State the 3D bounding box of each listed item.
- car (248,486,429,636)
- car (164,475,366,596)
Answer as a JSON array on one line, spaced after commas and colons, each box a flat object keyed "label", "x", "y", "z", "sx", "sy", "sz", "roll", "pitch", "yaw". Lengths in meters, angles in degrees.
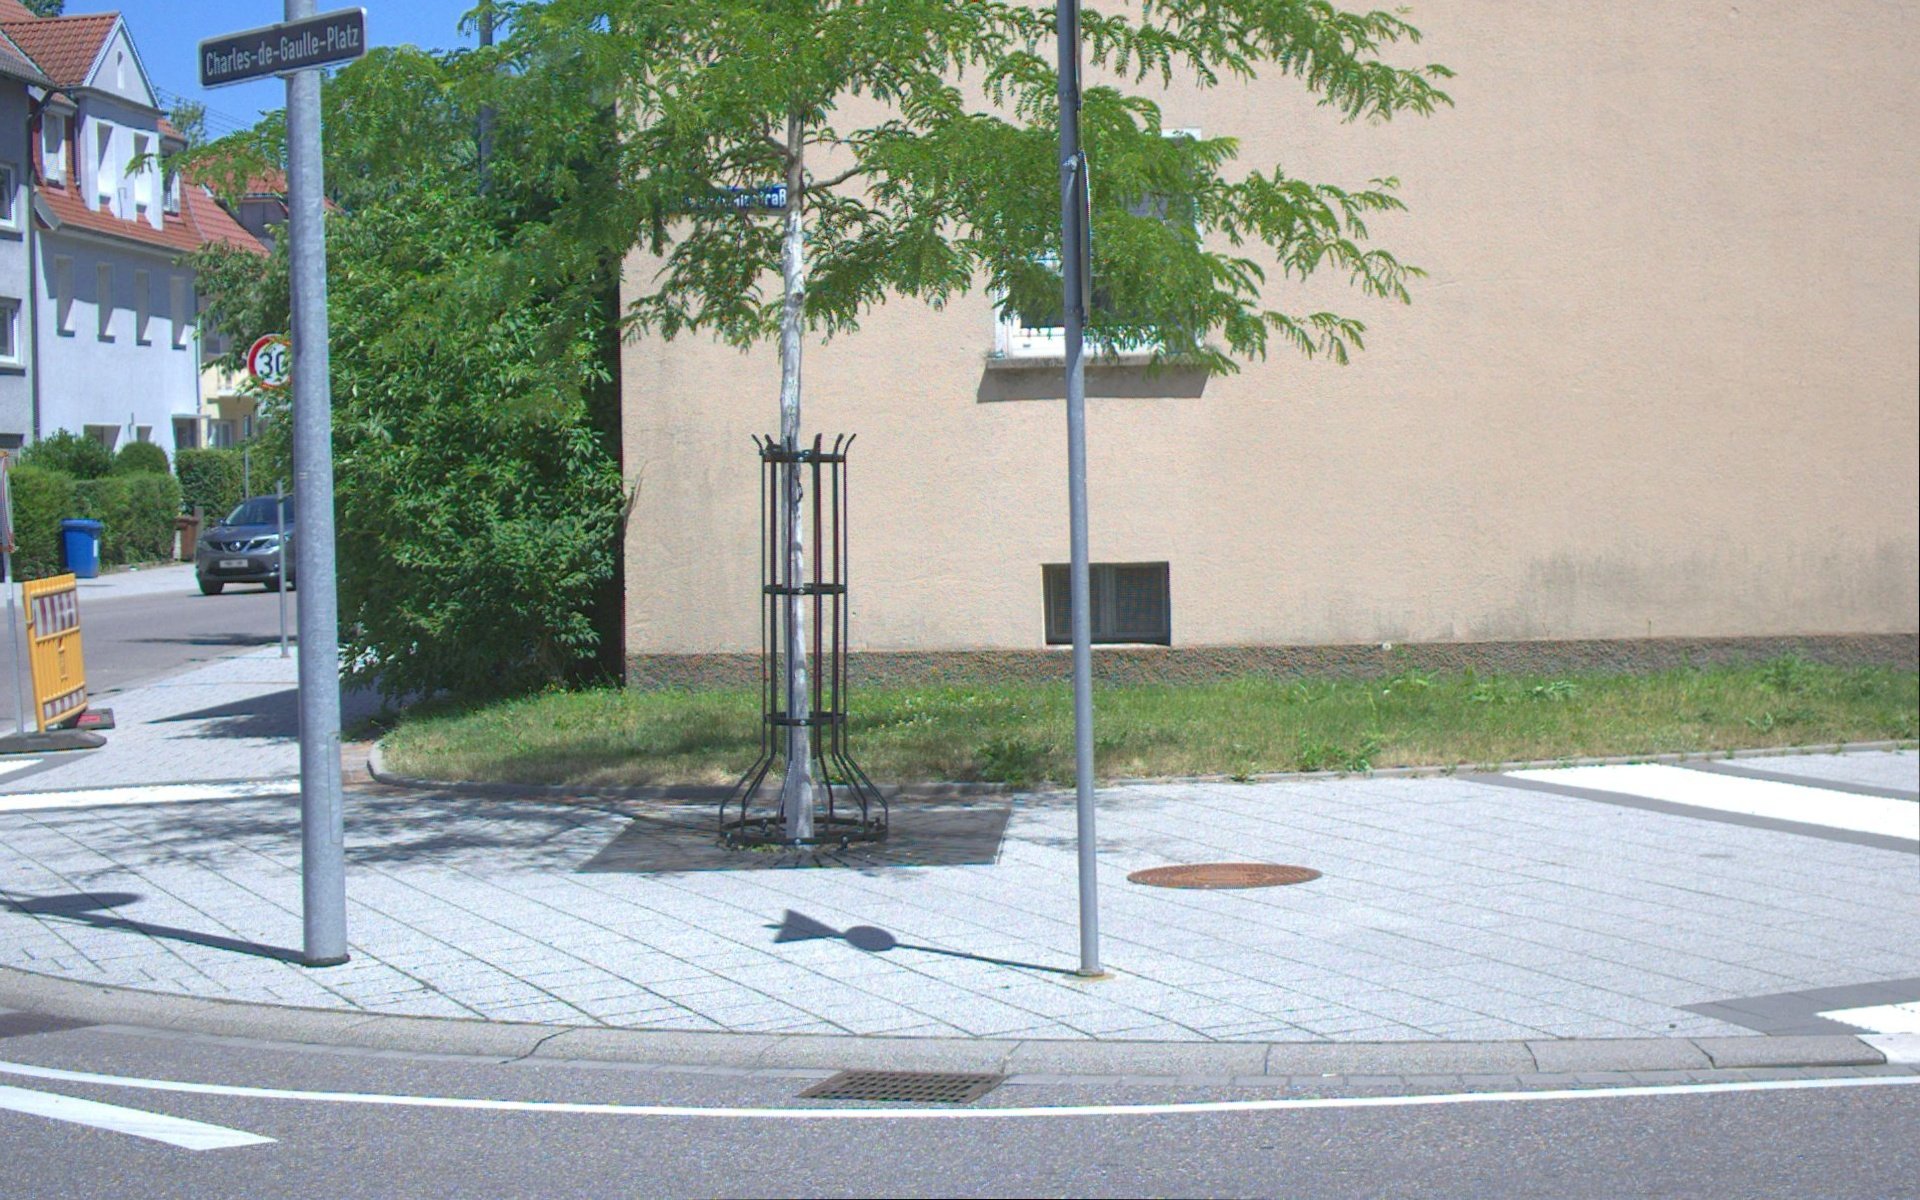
[{"label": "car", "x": -7.406, "y": -0.512, "z": 41.240, "sx": 1.878, "sy": 1.625, "sz": 3.592, "roll": 0, "pitch": 3, "yaw": -6}, {"label": "car", "x": -11.337, "y": -1.081, "z": 56.405, "sx": 1.994, "sy": 1.808, "sz": 4.212, "roll": -3, "pitch": 1, "yaw": 6}]
